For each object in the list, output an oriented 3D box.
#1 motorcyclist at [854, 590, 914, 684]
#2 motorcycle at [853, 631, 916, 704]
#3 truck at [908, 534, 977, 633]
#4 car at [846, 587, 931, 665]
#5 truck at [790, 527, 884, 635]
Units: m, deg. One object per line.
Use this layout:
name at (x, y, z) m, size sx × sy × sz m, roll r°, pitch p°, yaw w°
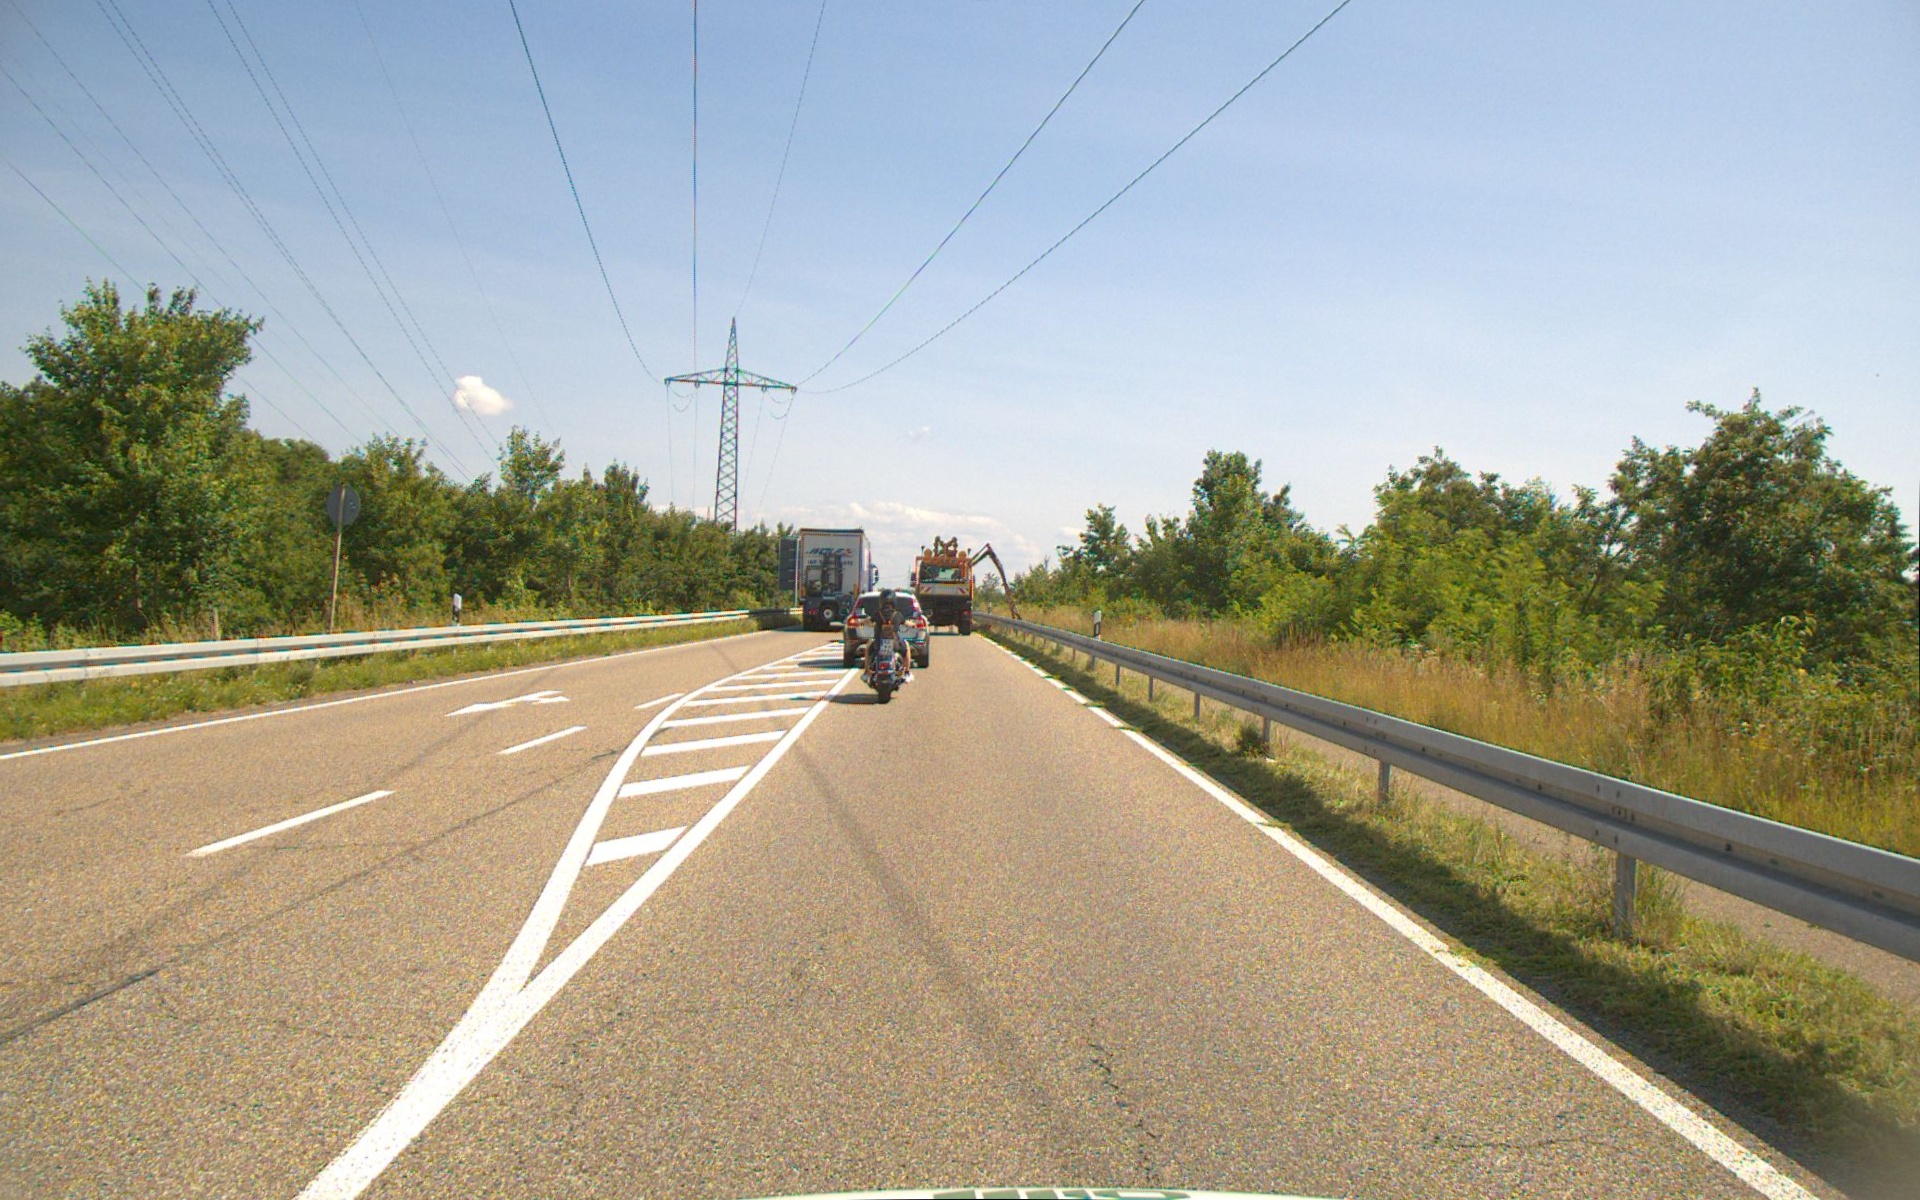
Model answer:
motorcyclist at (-1.085, 0.520, 23.711) m, size 0.820 × 1.303 × 0.919 m, roll 1°, pitch 0°, yaw -3°
motorcycle at (-1.081, 0.930, 23.545) m, size 0.841 × 0.931 × 2.226 m, roll 1°, pitch 0°, yaw -3°
truck at (-0.719, -0.641, 66.843) m, size 2.561 × 3.776 × 6.776 m, roll 1°, pitch 0°, yaw -1°
car at (-1.575, 0.525, 35.331) m, size 1.668 × 1.563 × 3.495 m, roll 1°, pitch 0°, yaw -5°
truck at (-5.243, -0.788, 73.323) m, size 2.907 × 4.260 × 14.821 m, roll 1°, pitch 0°, yaw 0°
